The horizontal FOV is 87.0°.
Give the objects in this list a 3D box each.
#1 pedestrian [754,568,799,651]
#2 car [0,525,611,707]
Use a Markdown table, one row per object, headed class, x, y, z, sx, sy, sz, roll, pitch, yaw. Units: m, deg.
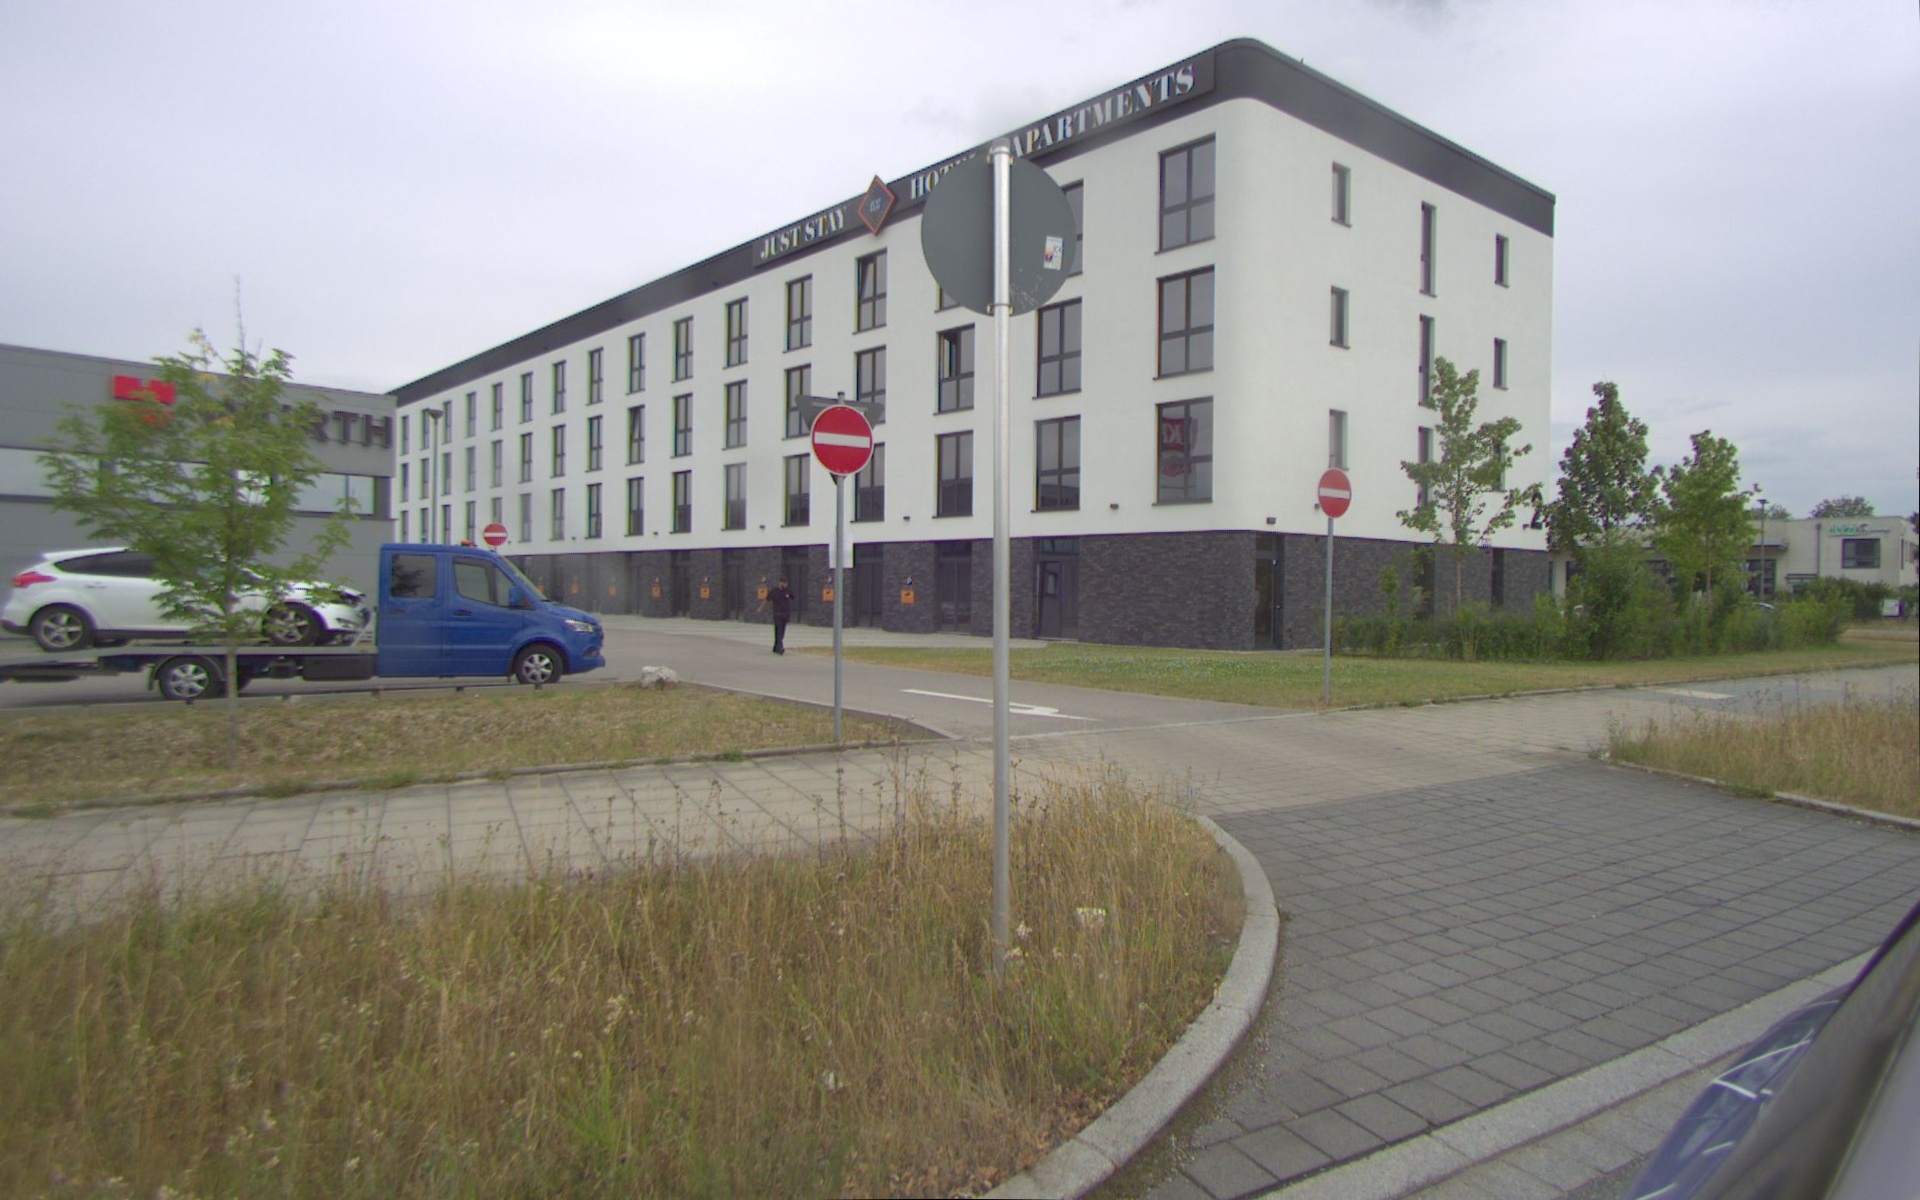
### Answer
| class | x | y | z | sx | sy | sz | roll | pitch | yaw |
| --- | --- | --- | --- | --- | --- | --- | --- | --- | --- |
| pedestrian | -4.169 | 0.196 | 23.031 | 0.697 | 1.845 | 0.812 | 0 | 1 | -40 |
| car | -9.485 | 0.190 | 15.495 | 7.692 | 2.351 | 2.206 | 0 | 1 | -23 |
